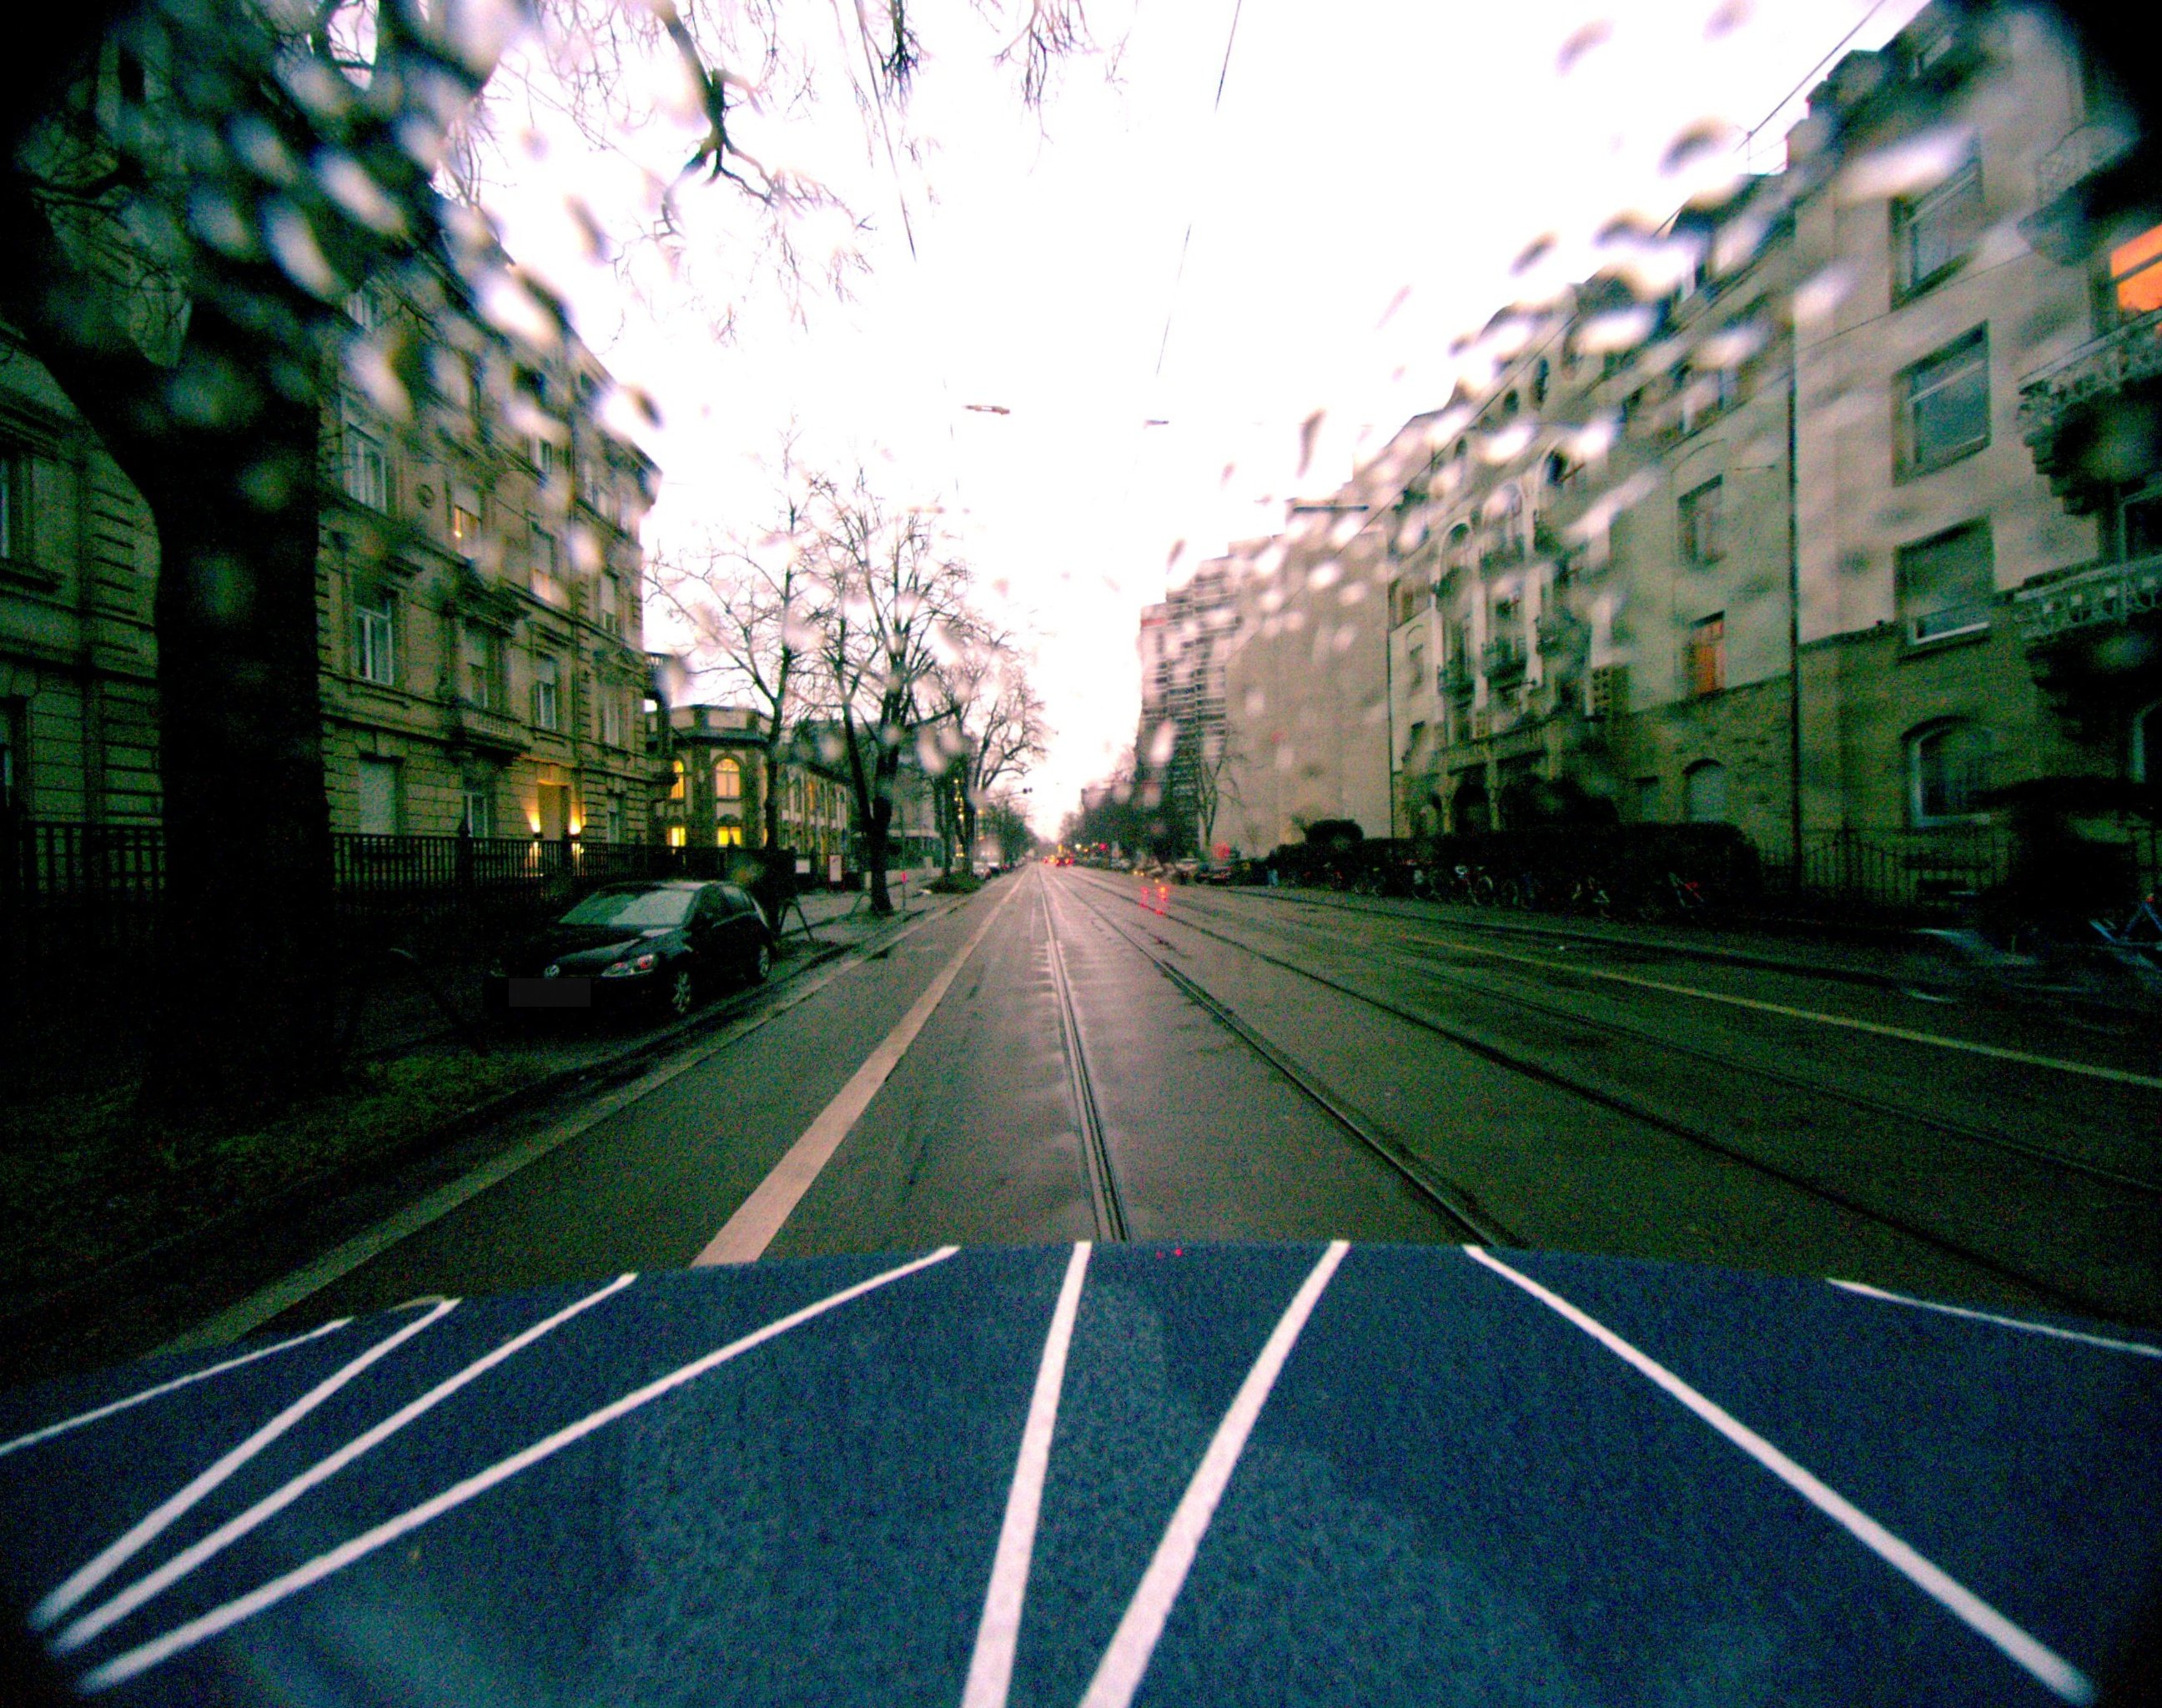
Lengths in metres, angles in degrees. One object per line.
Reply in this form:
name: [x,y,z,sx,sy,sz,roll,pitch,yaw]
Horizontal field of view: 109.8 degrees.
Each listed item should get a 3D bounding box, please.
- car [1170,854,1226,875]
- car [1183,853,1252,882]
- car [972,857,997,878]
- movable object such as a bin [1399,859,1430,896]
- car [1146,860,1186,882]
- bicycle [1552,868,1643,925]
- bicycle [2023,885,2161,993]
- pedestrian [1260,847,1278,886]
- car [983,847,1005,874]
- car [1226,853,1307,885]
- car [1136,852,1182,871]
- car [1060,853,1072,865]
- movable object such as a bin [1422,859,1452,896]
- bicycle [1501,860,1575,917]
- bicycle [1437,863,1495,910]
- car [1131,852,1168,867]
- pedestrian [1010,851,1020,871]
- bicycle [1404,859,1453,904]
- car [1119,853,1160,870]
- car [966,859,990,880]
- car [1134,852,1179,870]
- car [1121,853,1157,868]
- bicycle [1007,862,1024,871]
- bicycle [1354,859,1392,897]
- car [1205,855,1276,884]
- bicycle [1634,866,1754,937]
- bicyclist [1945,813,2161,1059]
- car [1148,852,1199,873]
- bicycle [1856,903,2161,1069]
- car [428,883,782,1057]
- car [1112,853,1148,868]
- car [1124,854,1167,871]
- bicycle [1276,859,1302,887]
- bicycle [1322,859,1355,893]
car: [8.662,0.762,56.272,4.007,1.440,1.864,-2,0,-40]
car: [8.234,0.815,45.664,4.007,1.586,1.864,-2,0,-40]
car: [-8.424,1.146,66.759,1.999,1.672,3.997,-2,1,-6]
movable object such as a bin: [10.616,0.745,24.201,0.659,1.157,0.674,-1,0,0]
car: [5.110,0.983,45.459,1.708,1.245,3.671,-1,0,17]
bicycle: [10.364,0.824,15.314,0.625,1.059,1.726,-1,0,-1]
bicycle: [10.803,0.846,7.625,0.625,0.997,1.662,-1,0,-1]
pedestrian: [8.465,0.554,34.188,0.574,1.715,0.644,-3,2,1]
car: [-8.778,0.594,76.707,2.094,2.622,5.446,-2,1,-6]
car: [9.841,0.779,40.323,4.006,1.485,1.865,-2,0,-31]
car: [7.103,0.686,69.230,4.007,1.586,1.864,-2,0,-40]
car: [-2.780,0.925,139.930,2.239,2.002,4.459,-2,1,-2]
movable object such as a bin: [11.355,0.753,24.256,0.625,1.157,0.674,-1,0,0]
bicycle: [10.238,0.745,17.077,0.625,1.205,1.662,-1,0,-1]
bicycle: [10.021,0.820,19.837,0.625,1.157,1.662,-1,0,-1]
car: [7.853,0.659,86.583,4.007,1.586,1.864,-2,0,-40]
pedestrian: [-7.571,0.785,87.250,1.118,2.246,0.952,-2,1,-6]
bicycle: [9.940,0.771,21.798,0.625,1.205,1.662,-1,0,-1]
car: [5.967,0.787,77.564,4.007,1.586,1.864,-2,0,-40]
car: [-7.640,1.145,56.804,1.628,1.399,3.997,-2,1,-6]
car: [7.203,0.659,72.325,4.007,1.586,1.864,-2,0,-40]
car: [6.805,0.748,89.087,4.007,1.586,1.864,-2,0,-40]
bicycle: [-7.516,1.403,87.282,1.918,0.986,0.858,-2,1,-5]
bicycle: [9.852,0.787,25.676,0.625,1.205,1.662,-1,0,-1]
car: [8.983,0.834,42.610,4.007,1.477,1.760,-2,0,-40]
bicycle: [10.571,0.781,13.190,0.625,1.119,1.783,-1,0,-1]
bicyclist: [8.016,0.623,6.271,0.625,1.865,0.991,-1,0,-1]
car: [7.654,0.707,62.598,4.007,1.586,1.864,-2,0,-40]
bicycle: [8.011,1.035,6.559,0.625,1.086,1.947,-1,0,-1]
car: [-5.088,1.120,8.916,1.762,1.437,4.156,1,-1,-4]
car: [5.898,0.763,90.957,4.007,1.586,1.864,-2,0,-40]
car: [6.364,0.814,75.076,4.007,1.586,1.864,-2,0,-40]
bicycle: [9.150,0.830,33.458,0.625,1.157,1.662,-2,0,-1]
bicycle: [9.567,0.784,28.278,0.625,1.205,1.662,-1,0,-1]
